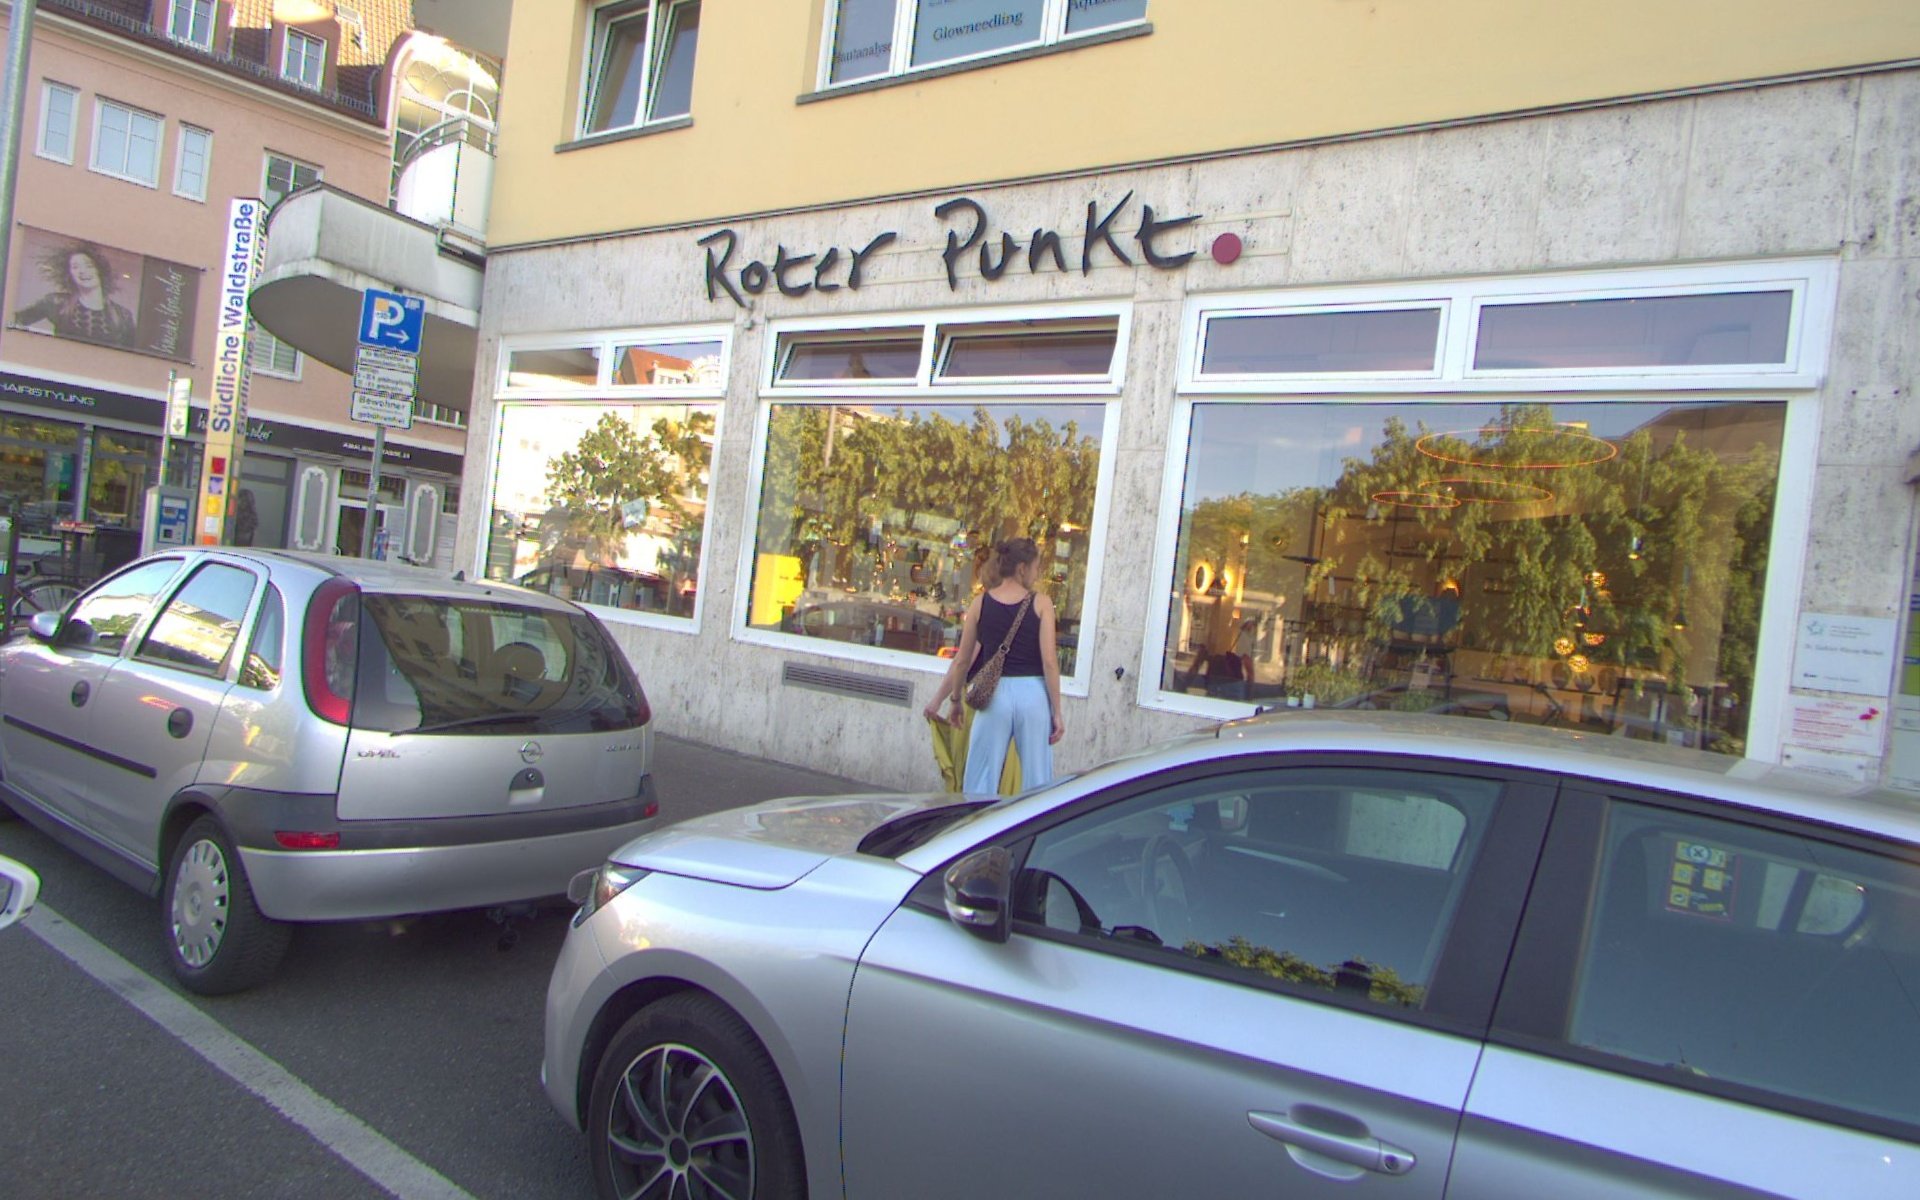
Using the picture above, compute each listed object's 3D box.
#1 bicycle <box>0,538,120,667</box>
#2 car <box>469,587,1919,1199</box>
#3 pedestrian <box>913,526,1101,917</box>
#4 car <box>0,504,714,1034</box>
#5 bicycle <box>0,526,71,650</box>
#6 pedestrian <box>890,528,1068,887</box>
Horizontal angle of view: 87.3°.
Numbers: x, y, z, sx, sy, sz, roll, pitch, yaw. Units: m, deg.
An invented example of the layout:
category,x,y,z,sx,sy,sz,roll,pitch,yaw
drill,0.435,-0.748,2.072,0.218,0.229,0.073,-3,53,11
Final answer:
category,x,y,z,sx,sy,sz,roll,pitch,yaw
bicycle,-8.129,-0.002,8.210,0.348,1.051,1.871,6,1,38
car,0.774,0.924,2.284,3.598,1.444,1.550,6,-1,30
pedestrian,0.239,0.552,4.855,0.646,1.685,0.648,7,0,5
car,-2.938,0.448,4.439,3.420,1.407,1.548,6,-1,33
bicycle,-9.101,-0.149,8.814,0.408,1.101,1.872,6,1,35
pedestrian,0.129,0.572,5.608,0.557,1.805,0.743,7,0,22
